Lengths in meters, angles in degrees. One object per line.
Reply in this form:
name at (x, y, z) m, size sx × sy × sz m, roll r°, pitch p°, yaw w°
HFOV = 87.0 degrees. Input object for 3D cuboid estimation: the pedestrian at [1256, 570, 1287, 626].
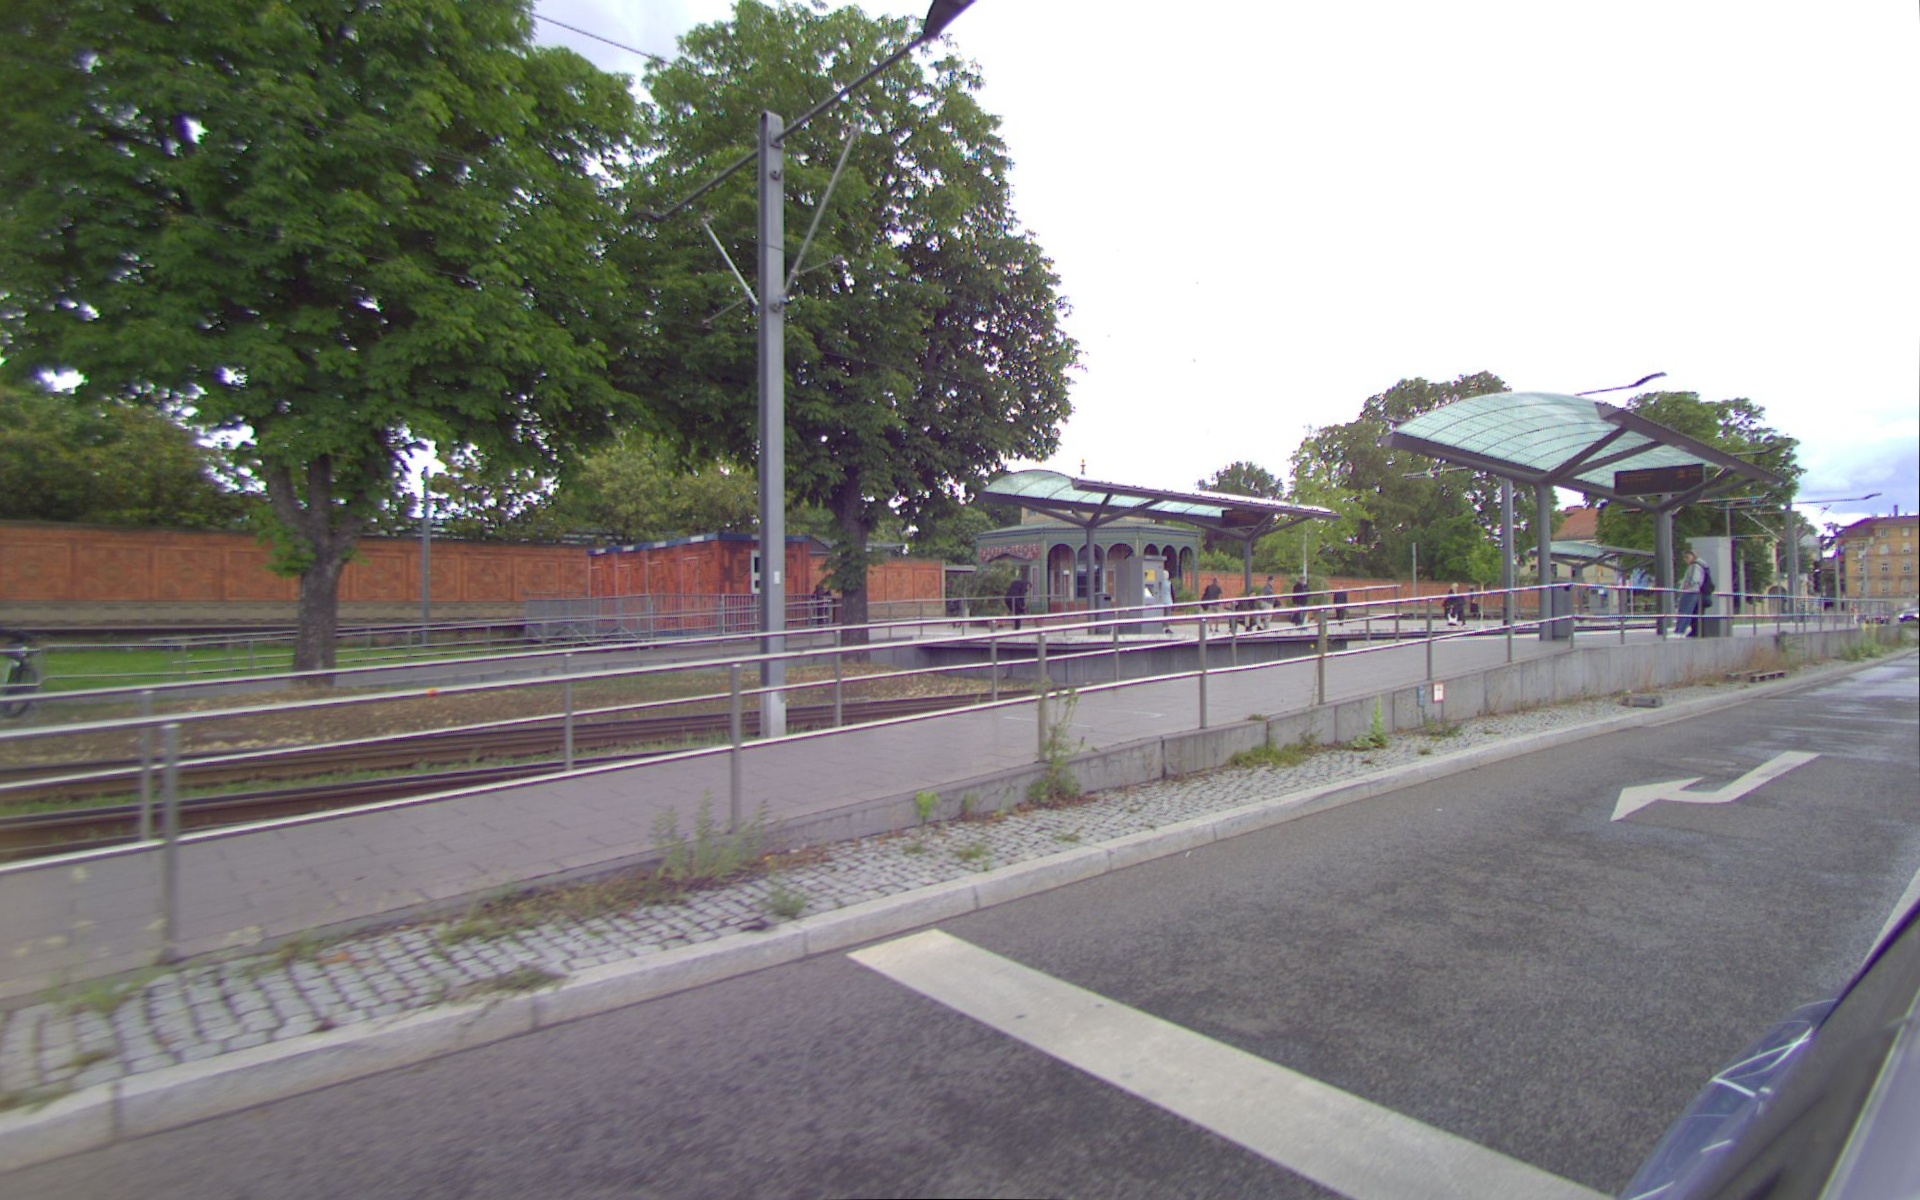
pedestrian at (9.422, -0.063, 30.602) m, size 0.663 × 1.641 × 0.525 m, roll 0°, pitch -4°, yaw -40°

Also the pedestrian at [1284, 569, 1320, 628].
pedestrian at (11.115, -0.049, 32.867) m, size 0.933 × 1.862 × 0.633 m, roll 0°, pitch -4°, yaw -40°

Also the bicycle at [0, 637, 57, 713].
bicycle at (-12.942, 1.040, 14.071) m, size 0.523 × 0.976 × 1.876 m, roll 0°, pitch -3°, yaw -40°

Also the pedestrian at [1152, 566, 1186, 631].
pedestrian at (5.590, -0.024, 27.049) m, size 0.664 × 1.699 × 0.544 m, roll 0°, pitch -4°, yaw -44°

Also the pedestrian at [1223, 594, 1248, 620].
pedestrian at (8.264, 0.201, 30.401) m, size 0.416 × 0.750 × 0.563 m, roll -1°, pitch -3°, yaw -32°

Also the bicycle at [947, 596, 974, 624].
bicycle at (0.043, 0.428, 41.167) m, size 0.556 × 1.075 × 1.705 m, roll -3°, pitch -3°, yaw 18°

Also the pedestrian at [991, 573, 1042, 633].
pedestrian at (1.307, 0.080, 23.407) m, size 0.951 × 1.341 × 0.674 m, roll 0°, pitch -4°, yaw -42°

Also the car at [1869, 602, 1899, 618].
car at (88.067, 0.977, 96.483) m, size 4.049 × 1.461 × 1.678 m, roll 0°, pitch -4°, yaw -42°

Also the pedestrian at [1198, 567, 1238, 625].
pedestrian at (7.884, -0.122, 30.920) m, size 0.858 × 1.699 × 0.751 m, roll -4°, pitch -3°, yaw 39°

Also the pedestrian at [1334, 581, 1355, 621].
pedestrian at (18.082, 0.063, 47.610) m, size 0.547 × 1.862 × 0.938 m, roll -5°, pitch -4°, yaw 42°

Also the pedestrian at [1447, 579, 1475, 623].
pedestrian at (19.964, 0.025, 40.342) m, size 0.851 × 1.709 × 0.633 m, roll 0°, pitch -4°, yaw -41°

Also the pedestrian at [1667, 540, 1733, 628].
pedestrian at (13.805, -0.274, 18.891) m, size 0.761 × 1.574 × 0.751 m, roll 3°, pitch -5°, yaw -39°

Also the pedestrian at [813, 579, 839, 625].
pedestrian at (-4.800, 0.084, 36.279) m, size 0.652 × 1.604 × 0.614 m, roll -4°, pitch -3°, yaw 35°

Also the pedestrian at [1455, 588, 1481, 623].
pedestrian at (24.621, 0.268, 49.080) m, size 0.757 × 1.621 × 0.742 m, roll -1°, pitch -3°, yaw -32°

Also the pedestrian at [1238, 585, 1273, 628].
pedestrian at (8.478, 0.183, 29.059) m, size 0.663 × 1.206 × 0.658 m, roll 0°, pitch -3°, yaw -39°

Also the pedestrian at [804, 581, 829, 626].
pedestrian at (-5.248, 0.119, 37.018) m, size 0.583 × 1.604 × 0.614 m, roll -5°, pitch -4°, yaw 41°

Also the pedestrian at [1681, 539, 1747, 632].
pedestrian at (14.477, -0.261, 19.437) m, size 0.718 × 1.722 × 0.771 m, roll 3°, pitch -5°, yaw -39°
